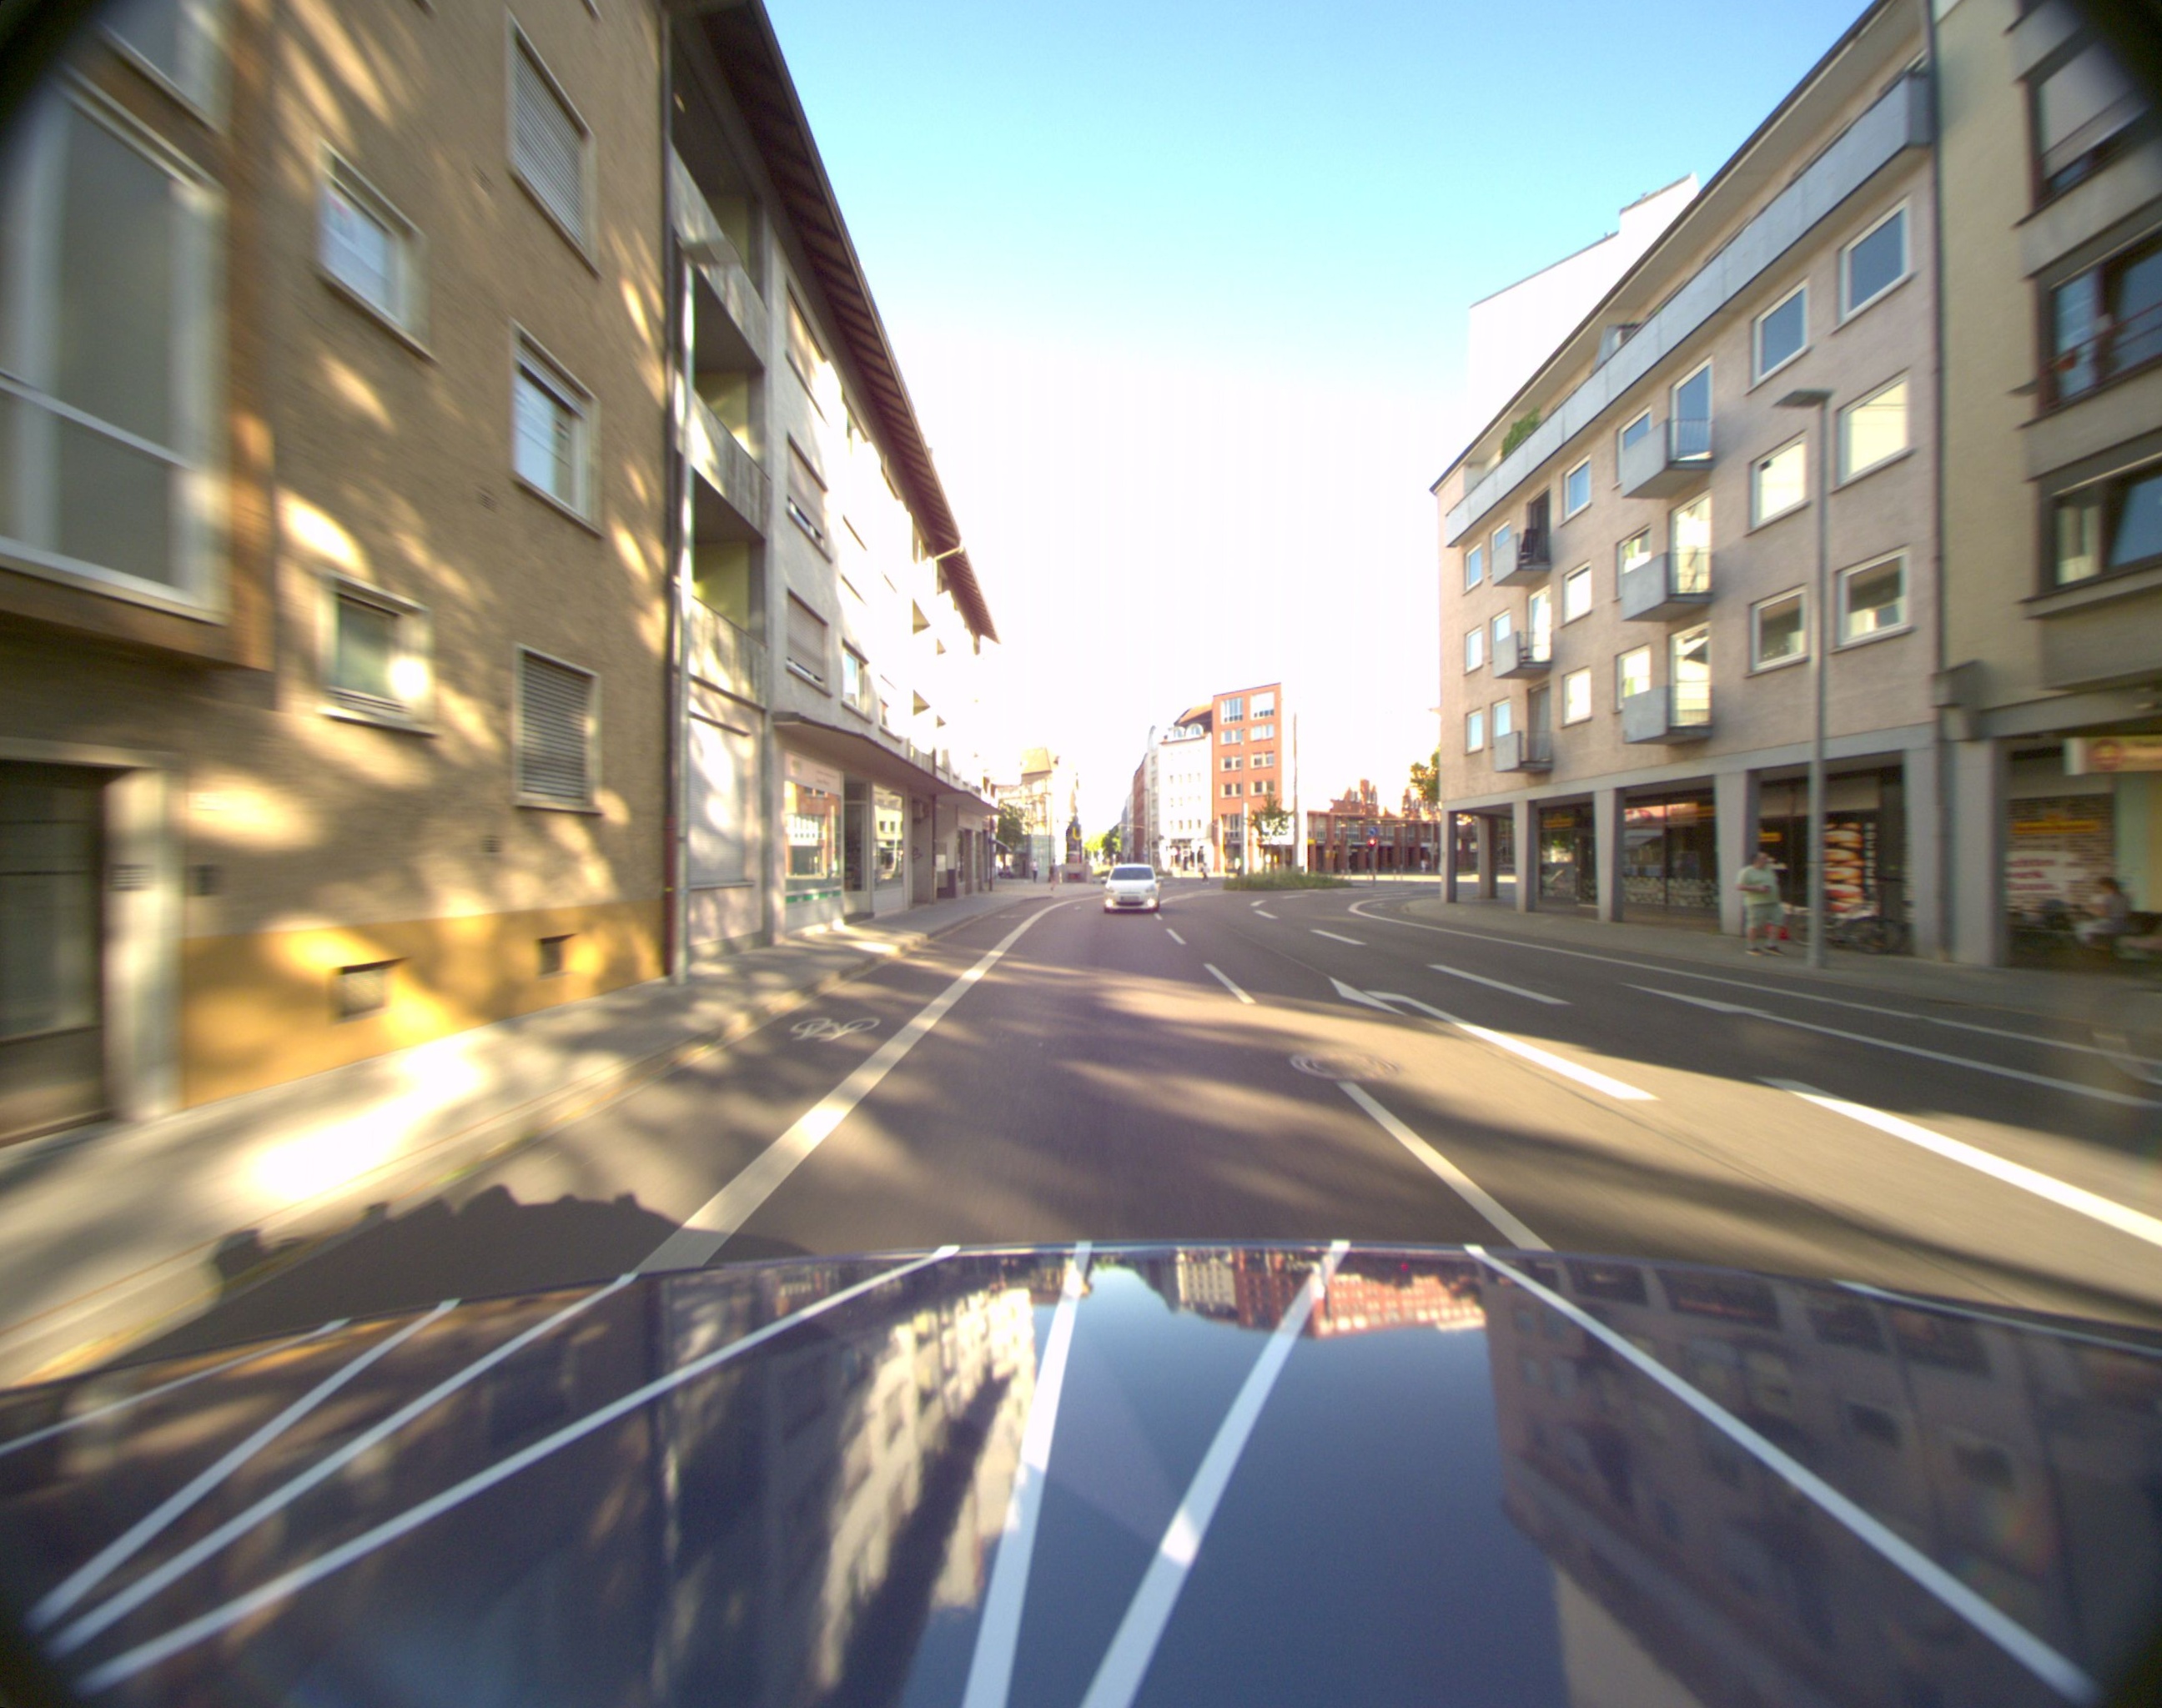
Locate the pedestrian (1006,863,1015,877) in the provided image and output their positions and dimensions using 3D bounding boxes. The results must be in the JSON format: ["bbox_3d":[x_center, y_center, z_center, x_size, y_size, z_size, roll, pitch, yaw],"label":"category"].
[{"bbox_3d":[-6.346,1.444,68.125,0.707,1.225,0.770,3,1,-8],"label":"pedestrian"}]

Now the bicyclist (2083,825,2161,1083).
[{"bbox_3d":[7.173,0.630,4.576,0.730,1.631,1.168,0,0,2],"label":"bicyclist"}]

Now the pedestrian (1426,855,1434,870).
[{"bbox_3d":[40.683,0.956,88.634,0.553,1.737,0.716,-1,1,44],"label":"pedestrian"}]

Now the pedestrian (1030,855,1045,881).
[{"bbox_3d":[-3.139,0.998,54.847,0.709,1.809,0.705,2,1,-42],"label":"pedestrian"}]

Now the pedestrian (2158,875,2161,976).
[{"bbox_3d":[14.790,0.953,9.862,0.614,1.360,0.711,-1,1,7],"label":"pedestrian"}]

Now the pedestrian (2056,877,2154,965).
[{"bbox_3d":[15.414,0.995,11.460,0.568,1.260,0.689,-1,1,12],"label":"pedestrian"}]

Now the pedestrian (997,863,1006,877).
[{"bbox_3d":[-7.111,1.416,68.017,0.708,1.235,0.765,3,1,-8],"label":"pedestrian"}]

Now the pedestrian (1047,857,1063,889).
[{"bbox_3d":[-1.516,1.084,44.212,0.706,1.809,0.708,3,1,13],"label":"pedestrian"}]

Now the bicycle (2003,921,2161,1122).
[{"bbox_3d":[7.176,1.099,4.530,0.730,1.193,2.179,1,0,2],"label":"bicycle"}]

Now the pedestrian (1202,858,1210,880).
[{"bbox_3d":[9.778,1.164,59.513,0.593,1.737,0.502,-2,1,9],"label":"pedestrian"}]

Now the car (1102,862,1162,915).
[{"bbox_3d":[1.696,1.013,24.038,1.682,1.490,3.687,0,0,7],"label":"car"}]

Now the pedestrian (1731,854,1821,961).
[{"bbox_3d":[11.649,0.869,12.753,0.834,1.730,0.723,-1,1,2],"label":"pedestrian"}]

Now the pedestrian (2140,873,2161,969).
[{"bbox_3d":[15.350,0.933,10.381,0.710,1.328,0.740,-1,1,6],"label":"pedestrian"}]

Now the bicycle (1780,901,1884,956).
[{"bbox_3d":[13.078,1.283,13.281,0.359,0.819,1.524,-1,0,3],"label":"bicycle"}]

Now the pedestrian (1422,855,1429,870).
[{"bbox_3d":[39.975,0.993,88.167,0.553,1.737,0.716,-1,1,44],"label":"pedestrian"}]
